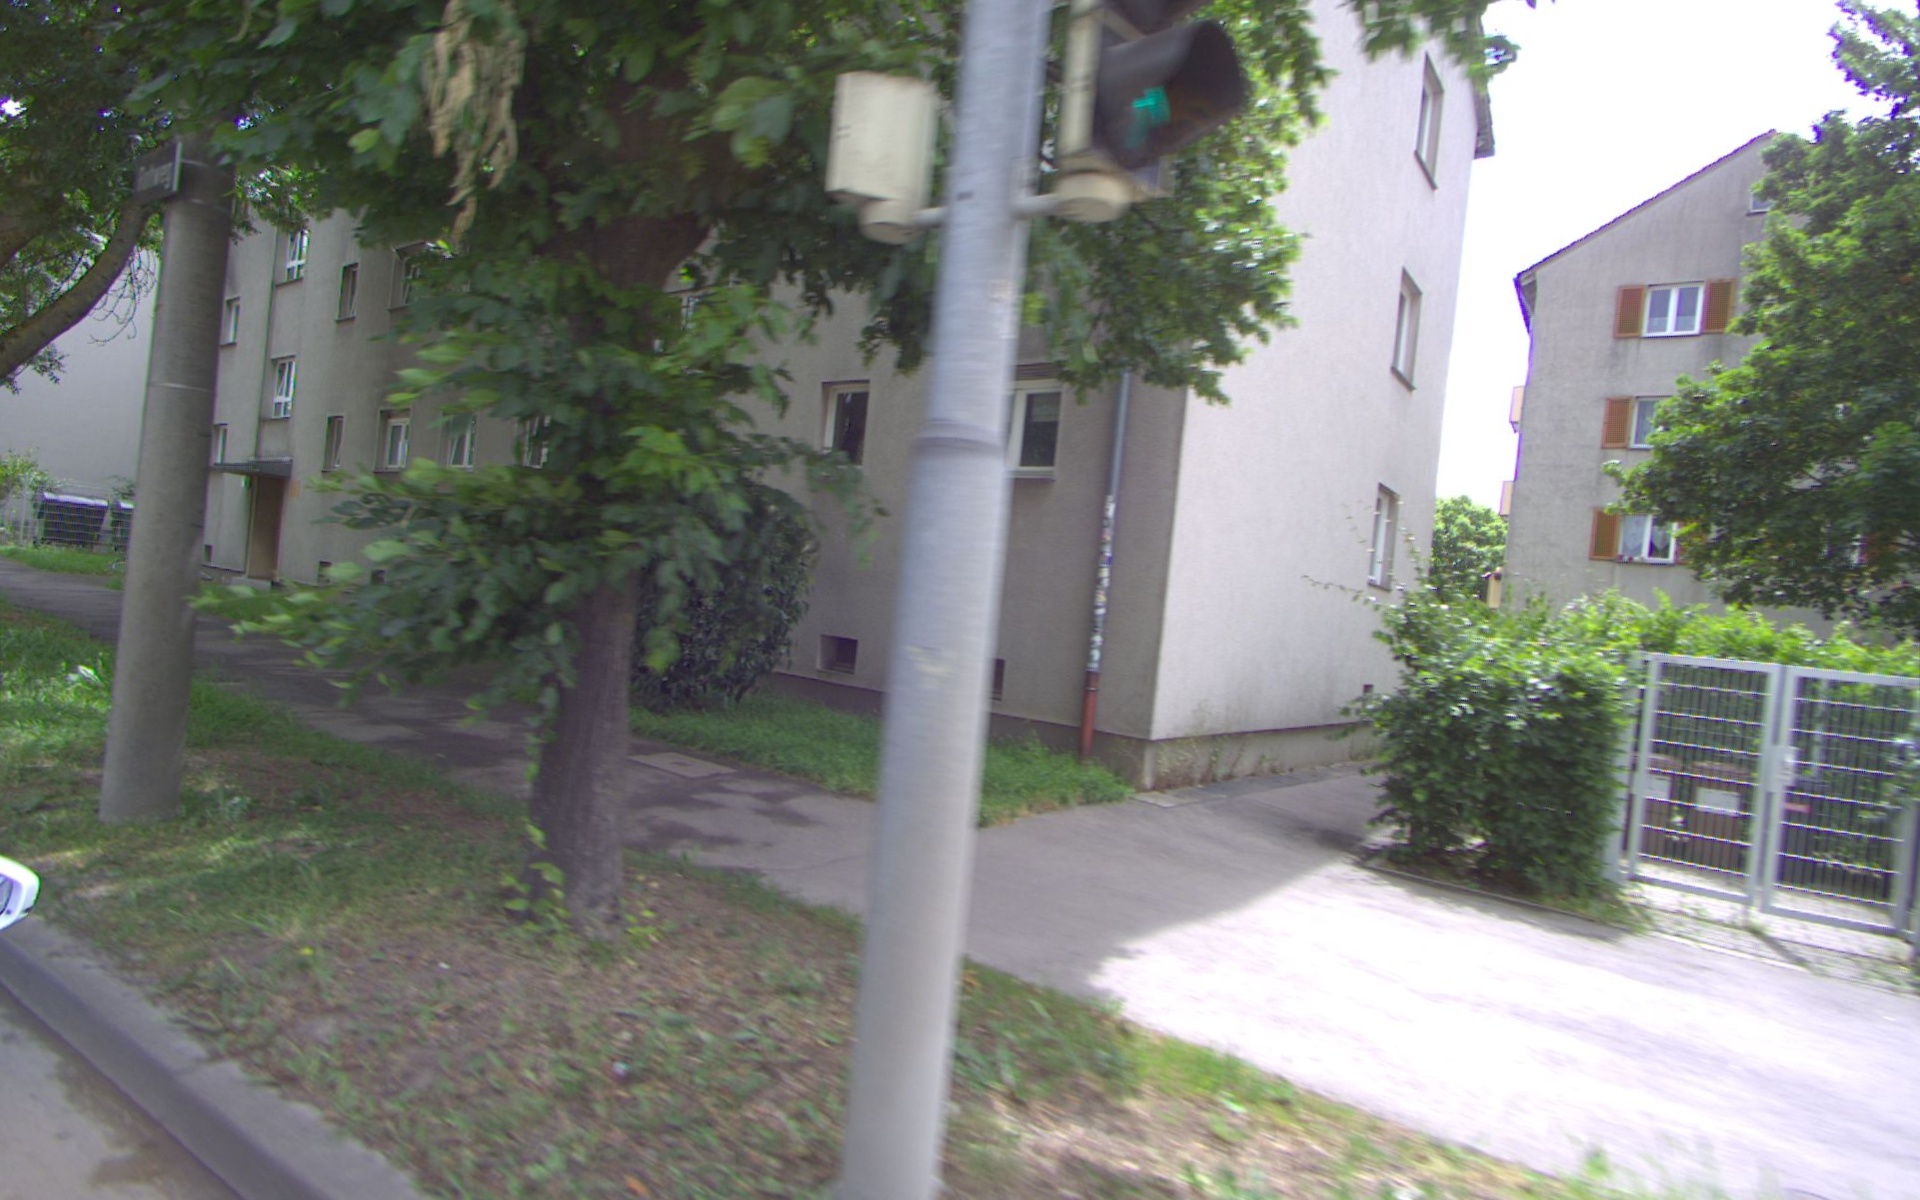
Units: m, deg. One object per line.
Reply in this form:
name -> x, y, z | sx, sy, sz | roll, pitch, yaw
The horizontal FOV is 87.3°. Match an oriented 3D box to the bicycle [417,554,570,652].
bicycle -> -6.291, 0.051, 13.623 | 1.723, 1.093, 0.436 | 7, -1, -4

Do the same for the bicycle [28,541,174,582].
bicycle -> -17.693, -0.787, 20.780 | 0.664, 0.513, 2.202 | 6, -3, 42
